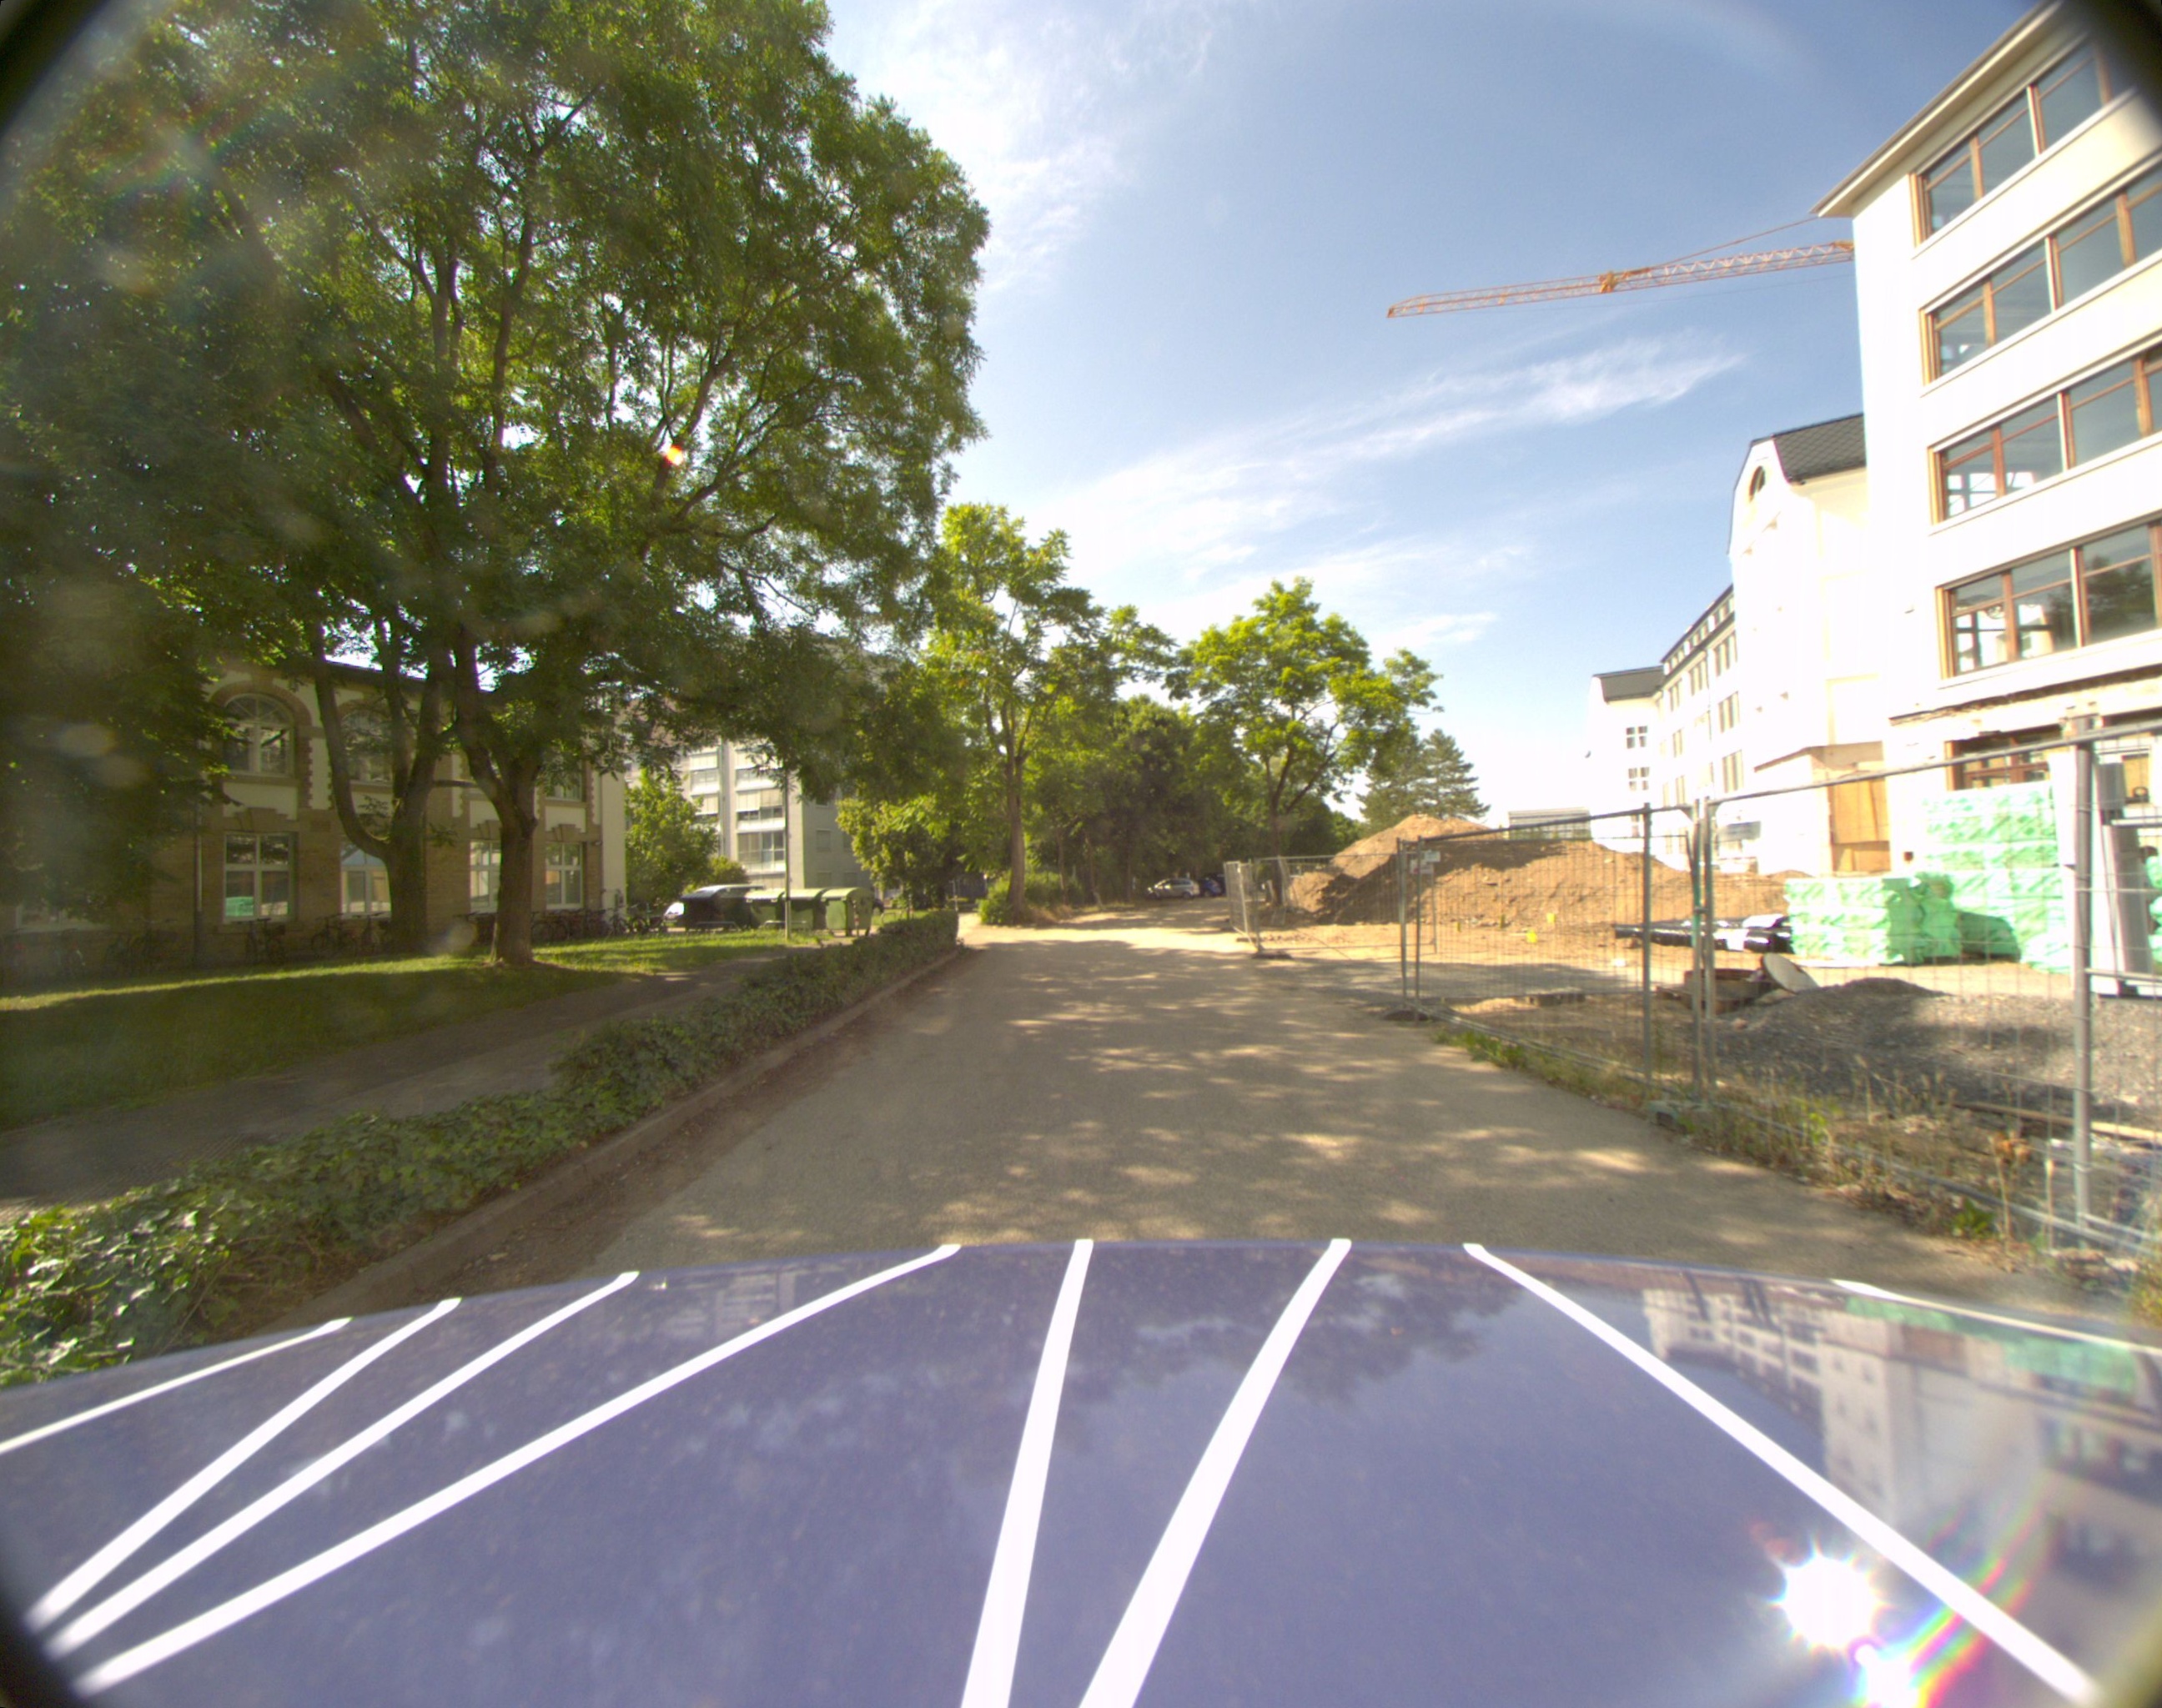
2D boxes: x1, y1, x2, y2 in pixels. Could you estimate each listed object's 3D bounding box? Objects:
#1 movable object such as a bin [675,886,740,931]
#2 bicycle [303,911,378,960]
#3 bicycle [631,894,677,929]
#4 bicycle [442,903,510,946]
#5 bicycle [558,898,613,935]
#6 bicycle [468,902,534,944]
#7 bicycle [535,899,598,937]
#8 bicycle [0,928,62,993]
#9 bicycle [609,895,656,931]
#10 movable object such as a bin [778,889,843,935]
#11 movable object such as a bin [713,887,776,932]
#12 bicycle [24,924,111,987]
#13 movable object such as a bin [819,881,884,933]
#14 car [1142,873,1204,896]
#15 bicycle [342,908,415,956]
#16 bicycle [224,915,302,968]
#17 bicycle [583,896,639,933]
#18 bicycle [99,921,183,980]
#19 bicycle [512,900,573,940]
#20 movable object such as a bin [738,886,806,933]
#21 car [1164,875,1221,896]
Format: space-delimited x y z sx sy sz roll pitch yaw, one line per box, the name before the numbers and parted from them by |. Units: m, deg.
movable object such as a bin | -12.357 1.786 25.162 1.433 1.401 1.252 -2 -1 20
bicycle | -18.471 2.022 18.935 2.097 1.154 0.589 -3 -1 24
bicycle | -14.701 1.972 26.133 1.940 1.154 0.558 -3 -1 34
bicycle | -17.169 1.995 21.545 2.097 1.154 0.589 -3 -1 24
bicycle | -15.889 2.009 24.360 1.909 1.154 0.495 -3 -1 24
bicycle | -16.942 2.008 22.179 2.097 1.154 0.589 -3 -1 24
bicycle | -16.146 2.010 23.845 2.097 1.154 0.589 -3 -1 24
bicycle | -20.493 2.025 14.632 2.097 1.154 0.589 -3 -1 24
bicycle | -15.171 1.990 25.694 1.800 1.154 0.508 -3 -1 29
movable object such as a bin | -8.233 1.764 23.165 1.352 1.292 1.217 -2 -1 21
movable object such as a bin | -10.884 1.789 24.615 1.349 1.341 1.217 -2 -1 21
bicycle | -20.348 2.020 15.251 2.097 1.154 0.589 -3 -1 24
movable object such as a bin | -6.844 1.554 22.647 1.389 1.454 1.218 -3 -1 36
car | 6.520 2.170 53.812 3.991 1.499 2.003 -2 -1 19
bicycle | -18.182 2.019 19.656 2.097 1.154 0.589 -3 -1 24
bicycle | -19.070 2.021 17.707 2.097 1.154 0.589 -3 -1 24
bicycle | -15.580 1.997 25.167 1.847 1.154 0.614 -3 -1 24
bicycle | -19.903 2.028 16.075 2.097 1.154 0.589 -3 -1 24
bicycle | -16.391 1.997 23.133 1.917 1.154 0.589 -3 -1 24
movable object such as a bin | -9.639 1.726 23.711 1.499 1.353 1.217 -2 -1 21
car | 8.642 2.418 58.773 3.991 1.433 2.003 -2 -1 19
